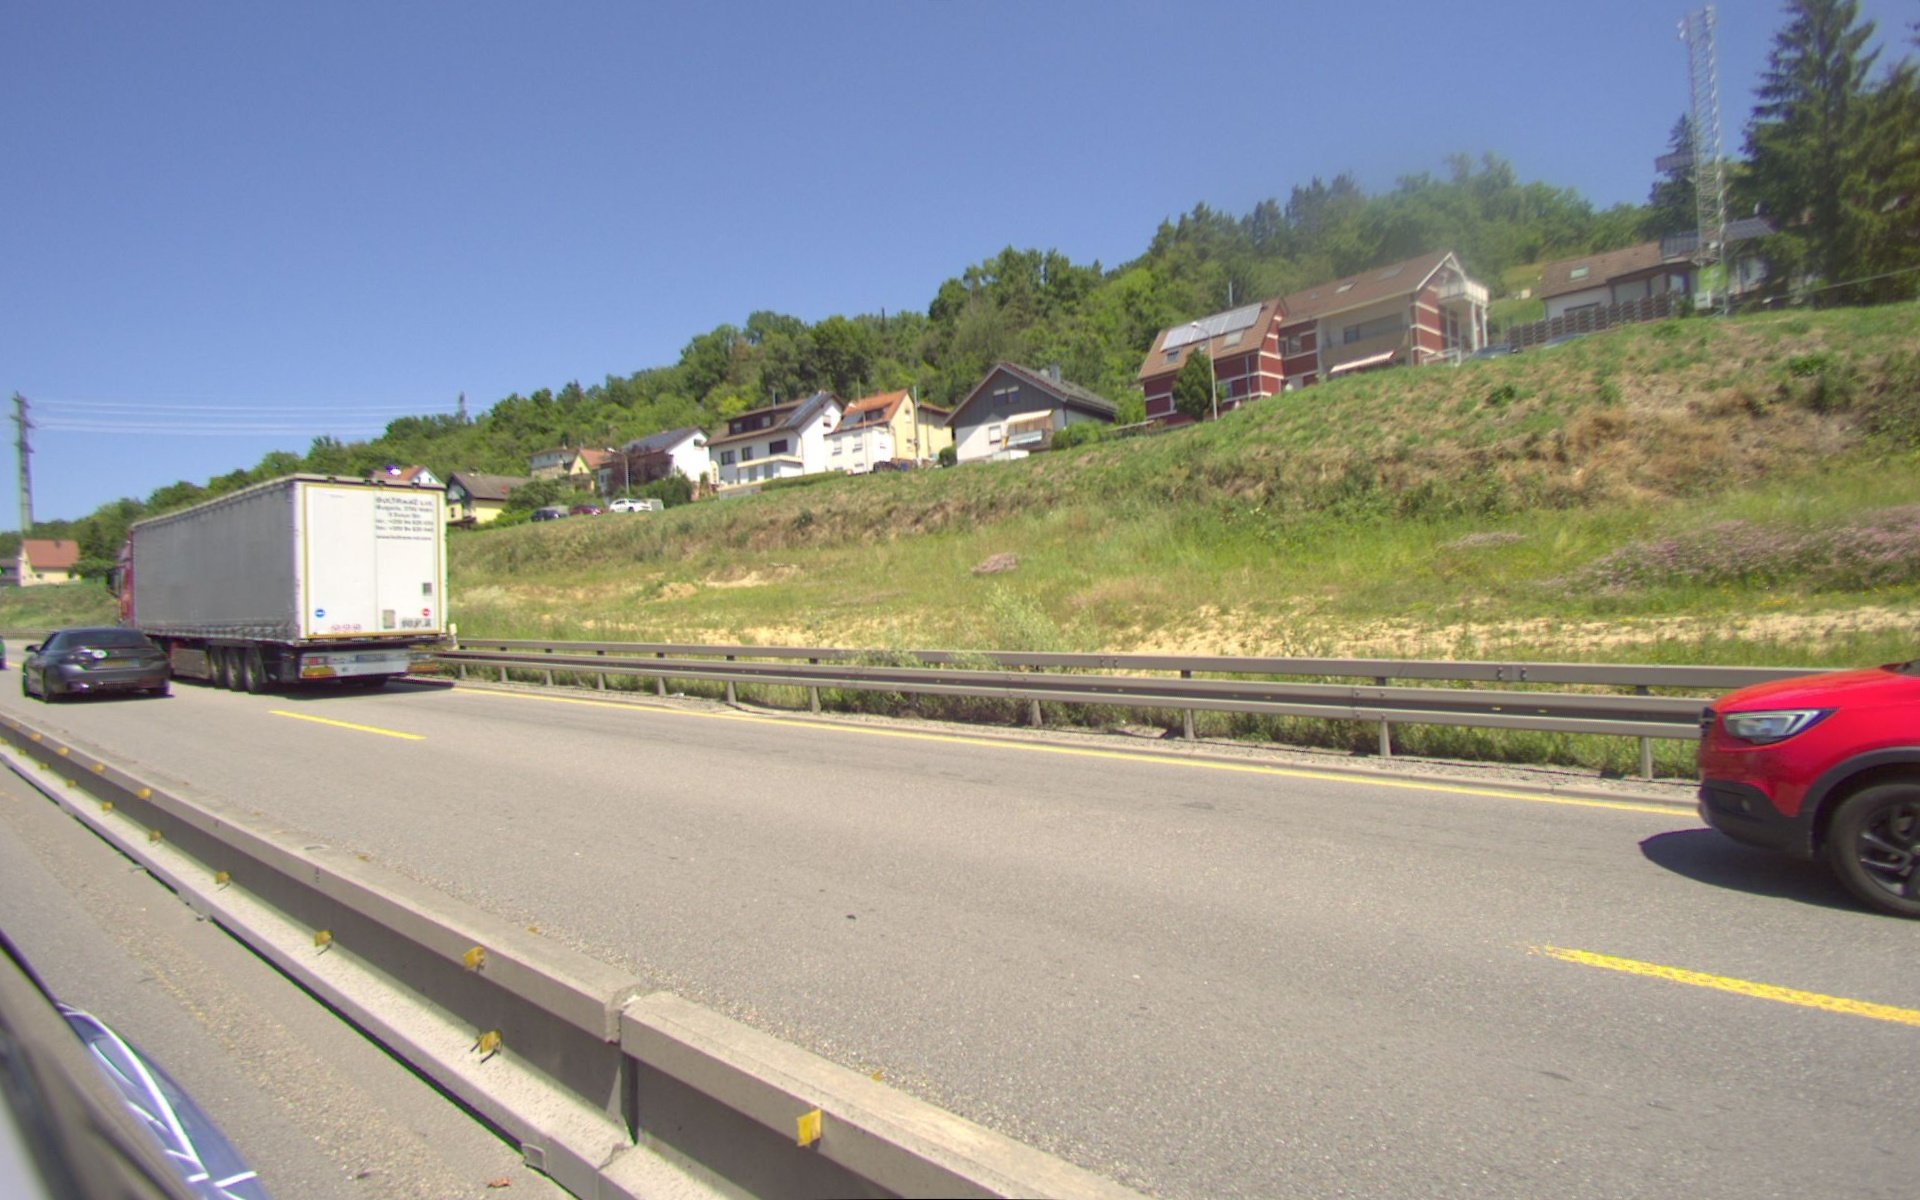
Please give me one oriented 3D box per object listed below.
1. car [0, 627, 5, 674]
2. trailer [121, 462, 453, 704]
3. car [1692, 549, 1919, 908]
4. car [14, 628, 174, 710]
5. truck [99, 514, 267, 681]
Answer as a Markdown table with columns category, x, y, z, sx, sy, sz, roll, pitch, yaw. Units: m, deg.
| category | x | y | z | sx | sy | sz | roll | pitch | yaw |
| --- | --- | --- | --- | --- | --- | --- | --- | --- | --- |
| car | -32.989 | 1.698 | 33.408 | 3.998 | 1.519 | 1.736 | -2 | 1 | 42 |
| trailer | -15.793 | -0.157 | 22.905 | 13.430 | 4.155 | 2.827 | -2 | -1 | 41 |
| car | 5.740 | 0.530 | 4.176 | 4.262 | 1.563 | 1.699 | -2 | -1 | 41 |
| car | -16.917 | 1.258 | 19.689 | 4.409 | 1.373 | 1.749 | -1 | -1 | 41 |
| truck | -21.425 | -0.022 | 27.846 | 4.596 | 4.155 | 2.792 | -2 | -1 | 41 |
